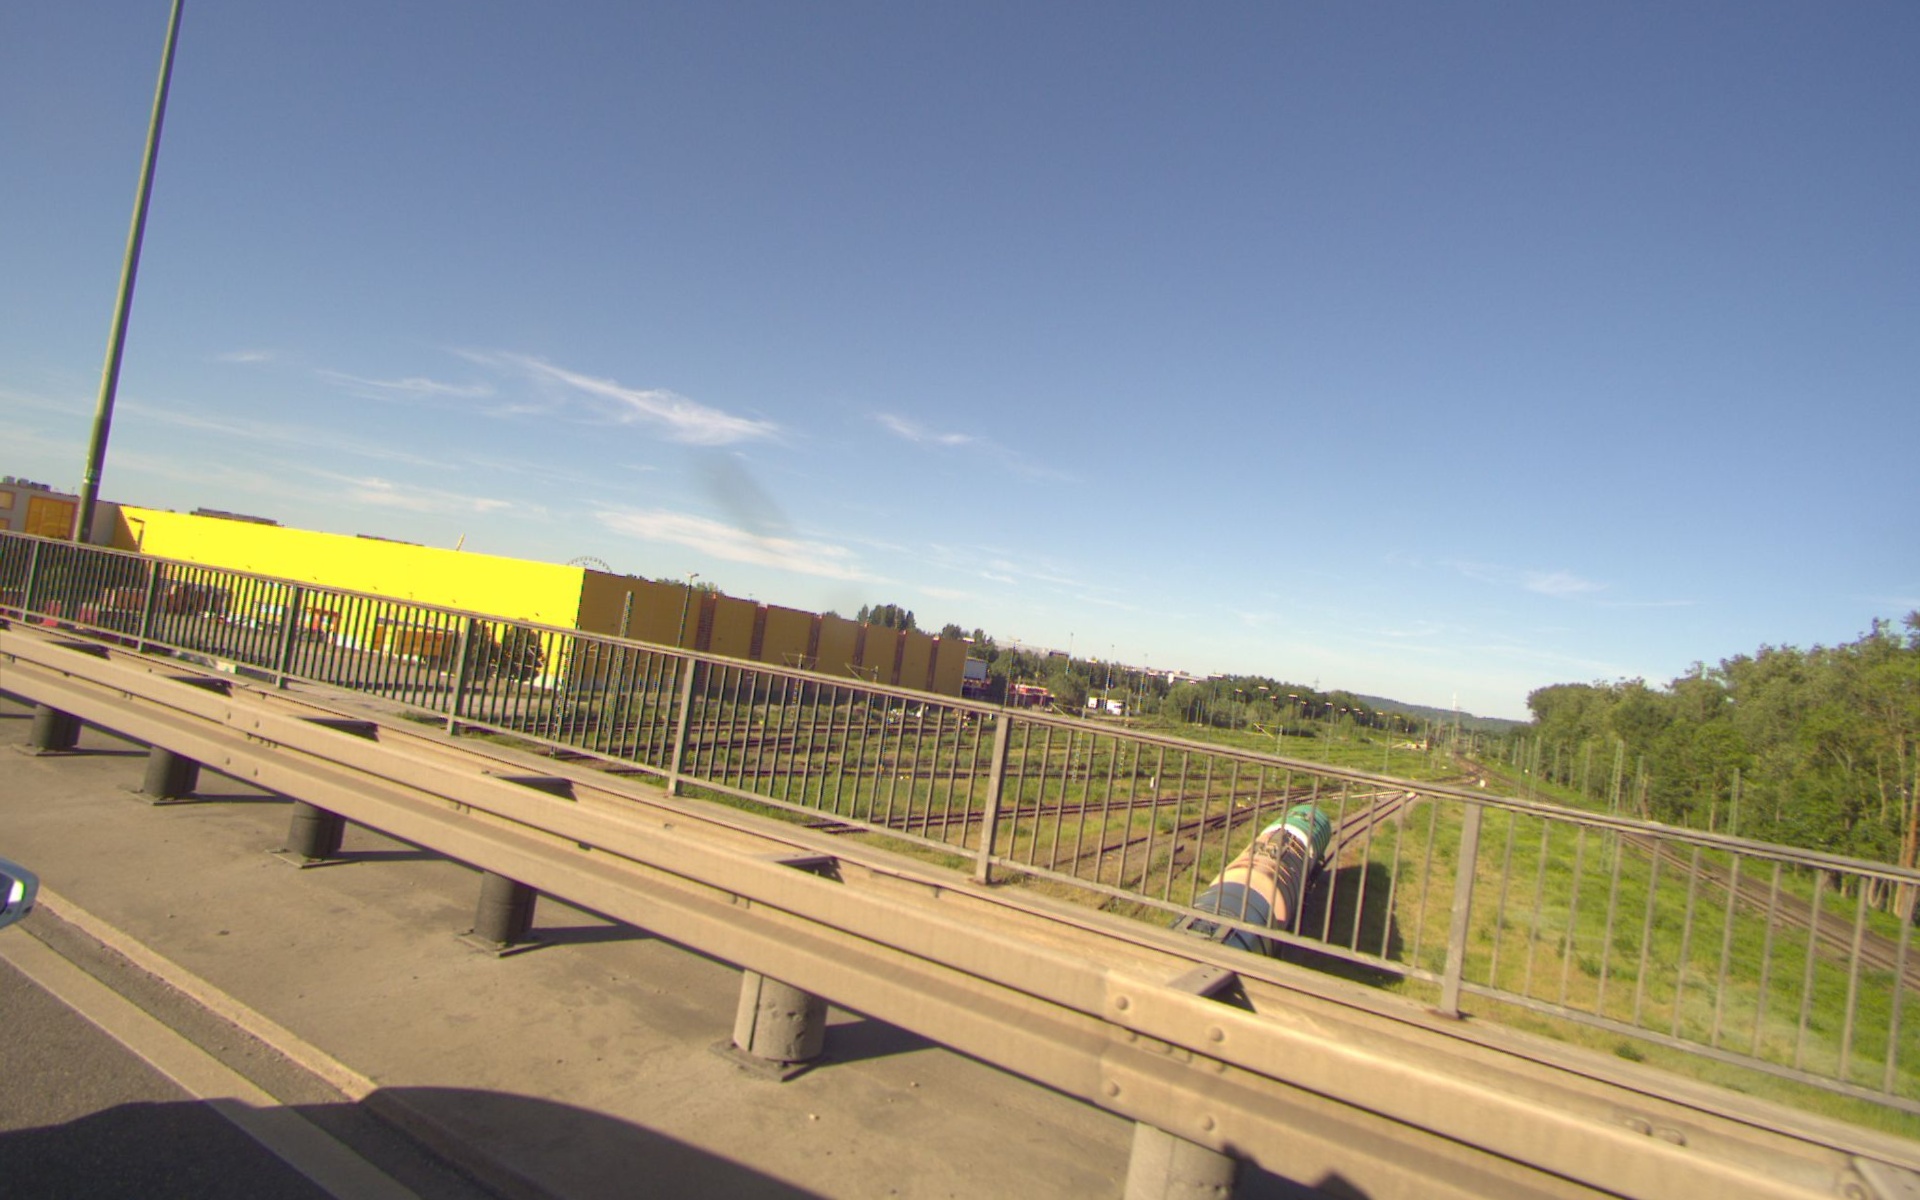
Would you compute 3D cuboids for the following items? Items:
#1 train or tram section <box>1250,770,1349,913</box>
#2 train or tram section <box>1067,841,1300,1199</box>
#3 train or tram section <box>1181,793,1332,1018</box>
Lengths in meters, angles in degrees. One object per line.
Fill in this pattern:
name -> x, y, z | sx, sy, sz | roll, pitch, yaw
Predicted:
train or tram section -> 19.482, 13.109, 56.797 | 3.277, 5.244, 15.177 | 7, -1, 24
train or tram section -> 6.948, 10.753, 28.535 | 3.277, 5.327, 13.083 | 7, -1, 24
train or tram section -> 12.965, 11.887, 42.198 | 3.277, 5.323, 16.879 | 7, -1, 24
